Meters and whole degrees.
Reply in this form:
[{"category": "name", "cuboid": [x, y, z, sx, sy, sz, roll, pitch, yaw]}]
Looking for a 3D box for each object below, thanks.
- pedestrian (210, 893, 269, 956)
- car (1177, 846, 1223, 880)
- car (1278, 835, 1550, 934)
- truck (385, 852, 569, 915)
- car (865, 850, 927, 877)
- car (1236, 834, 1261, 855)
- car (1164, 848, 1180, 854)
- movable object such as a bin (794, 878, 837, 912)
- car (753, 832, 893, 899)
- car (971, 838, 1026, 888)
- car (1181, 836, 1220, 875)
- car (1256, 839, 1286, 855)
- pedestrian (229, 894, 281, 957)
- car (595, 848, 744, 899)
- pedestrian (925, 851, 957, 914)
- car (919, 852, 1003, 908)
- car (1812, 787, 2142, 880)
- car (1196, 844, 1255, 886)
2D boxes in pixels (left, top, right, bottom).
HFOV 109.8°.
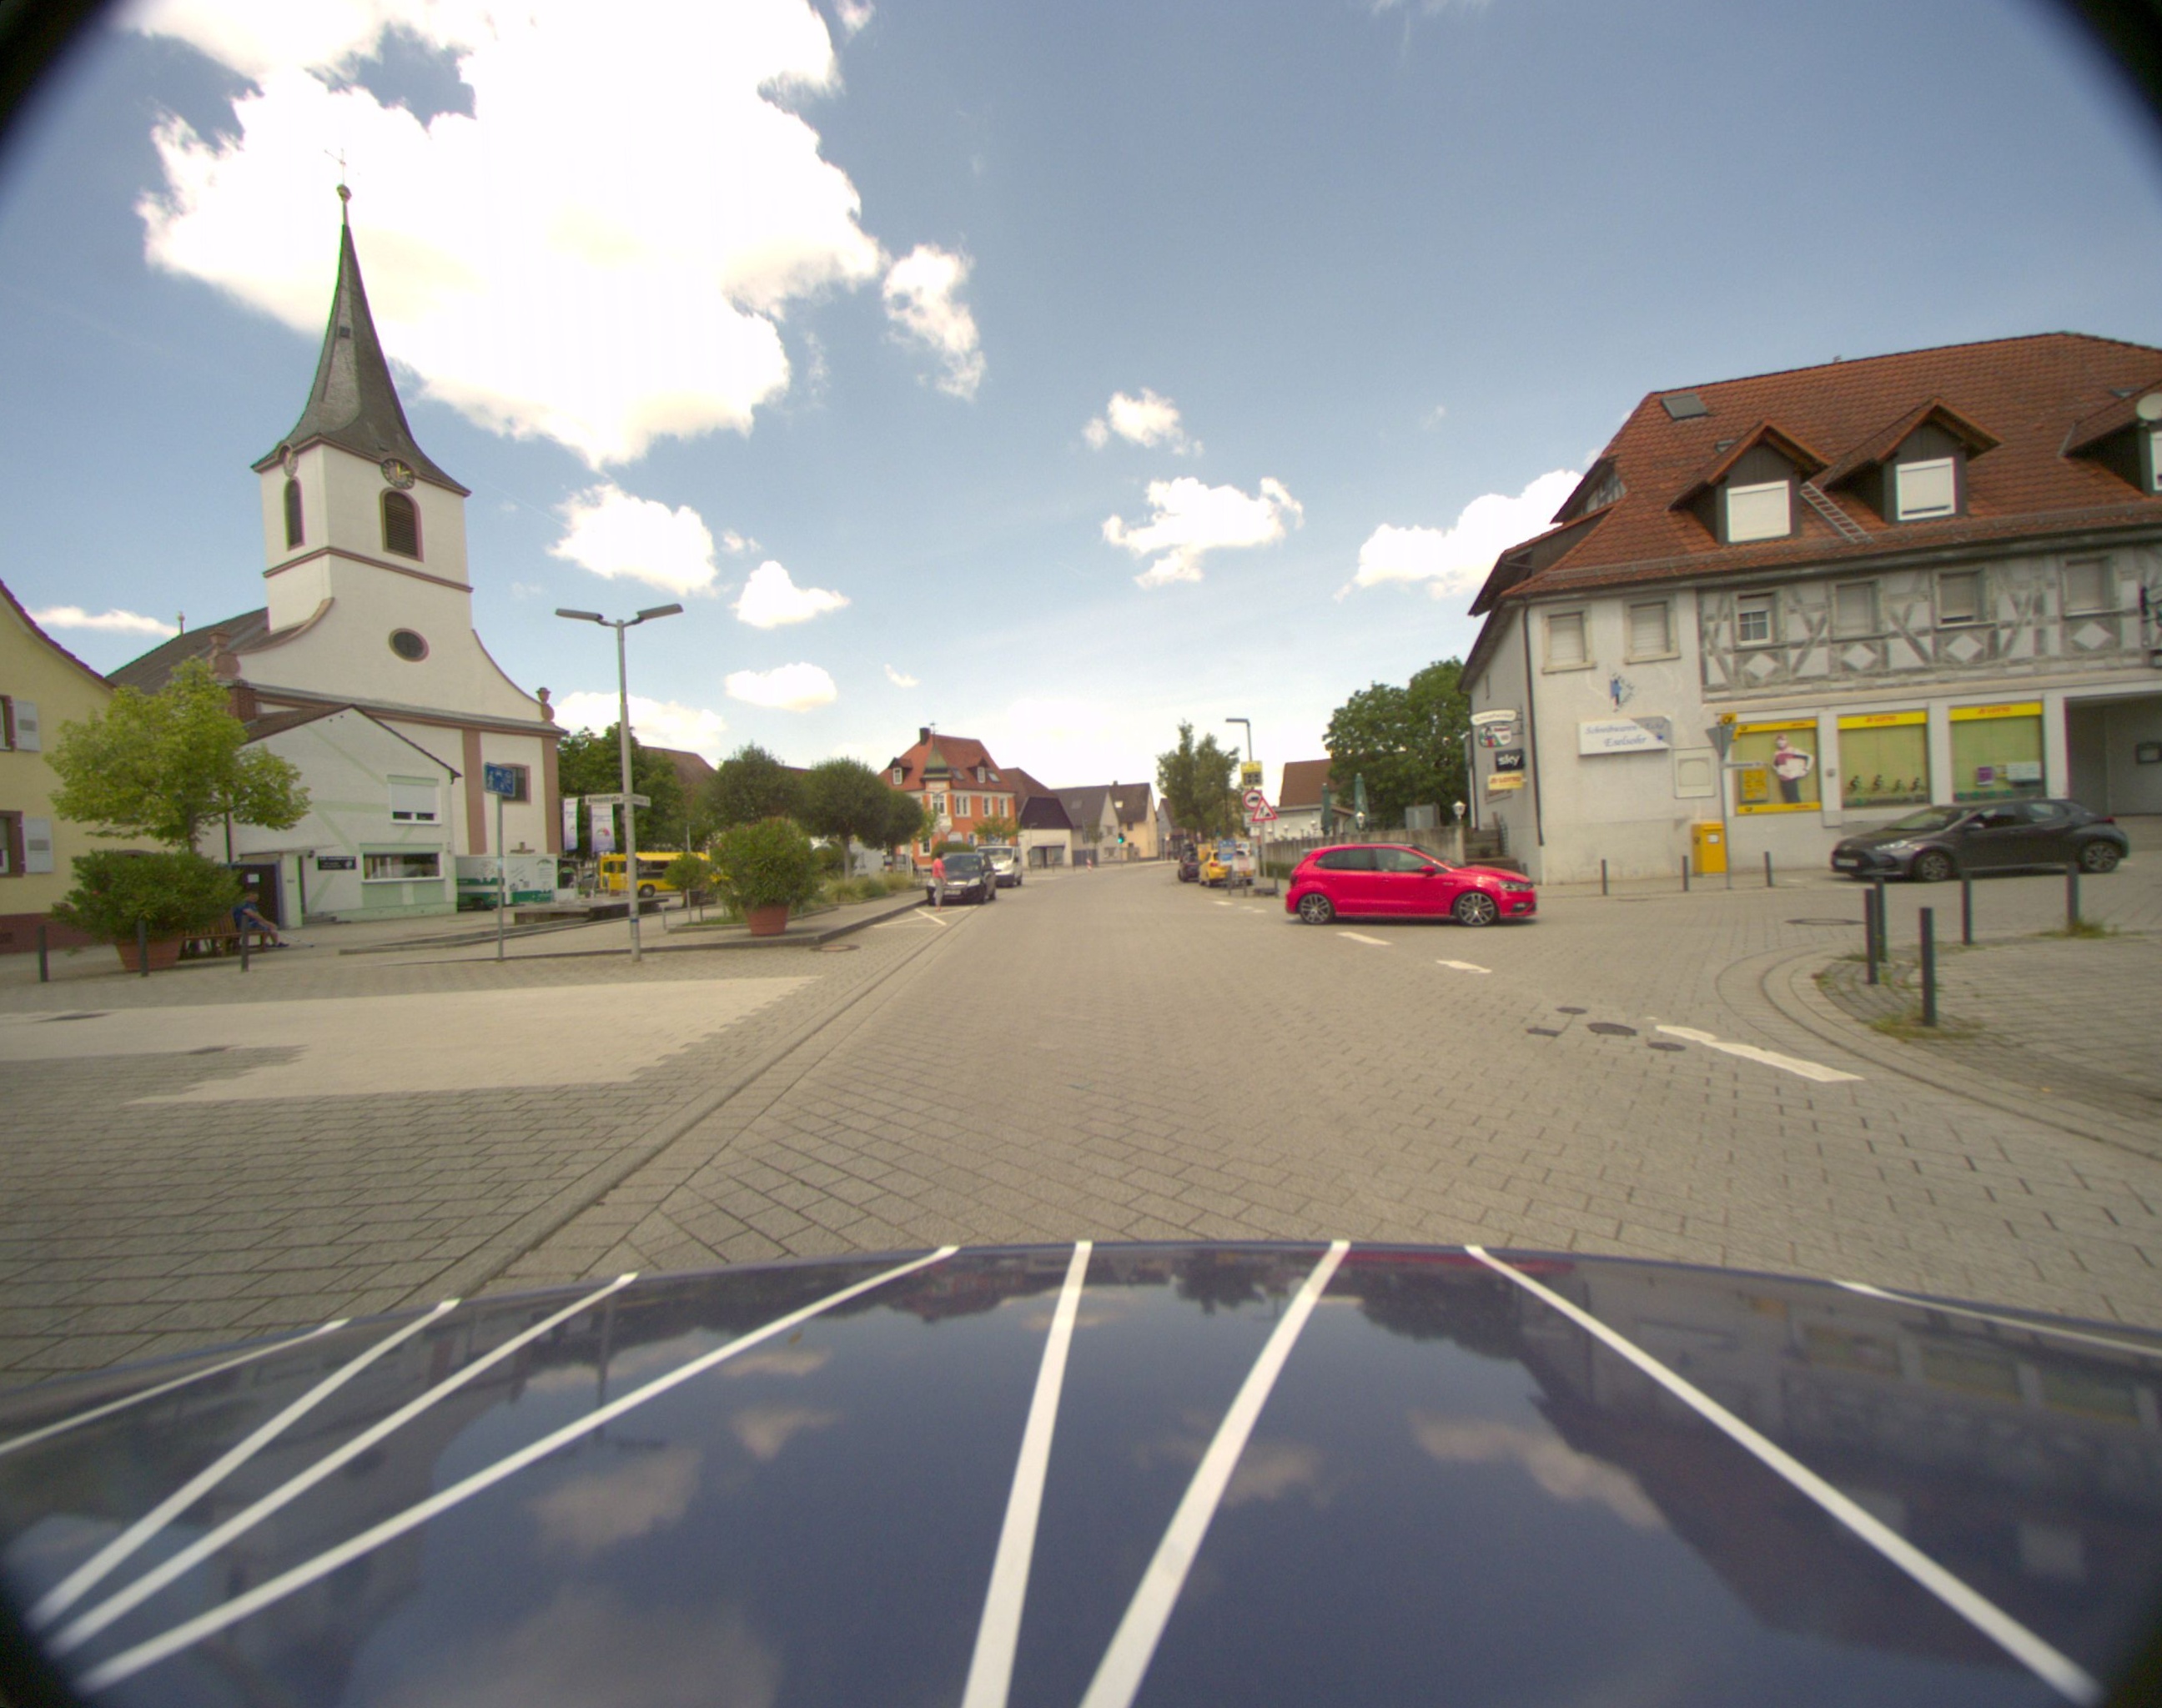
[{"category": "pedestrian", "cuboid": [-18.614, 1.541, 16.819, 0.536, 1.277, 0.791, -1, 2, 40]}, {"category": "car", "cuboid": [5.529, 0.398, 35.818, 1.820, 1.415, 4.539, -3, 0, 6]}, {"category": "car", "cuboid": [5.582, 0.493, 12.904, 3.877, 1.404, 1.787, -2, 1, 37]}, {"category": "truck", "cuboid": [-28.104, 1.347, 35.478, 6.813, 2.483, 2.960, -3, 1, 12]}, {"category": "car", "cuboid": [-15.132, 0.751, 62.521, 1.995, 2.002, 5.502, -3, 0, 22]}, {"category": "car", "cuboid": [18.758, -1.074, 84.887, 1.889, 2.173, 5.037, -2, 1, 22]}, {"category": "car", "cuboid": [17.929, -0.639, 149.701, 1.804, 1.053, 3.995, -3, 1, -12]}, {"category": "movable object such as a bin", "cuboid": [-7.574, 1.157, 21.720, 0.737, 0.861, 1.435, -3, 1, -2]}, {"category": "car", "cuboid": [-12.627, 0.457, 38.013, 2.756, 2.946, 7.121, -2, 1, 18]}, {"category": "car", "cuboid": [-3.832, 0.385, 36.226, 1.947, 2.165, 5.101, -1, 1, 1]}, {"category": "car", "cuboid": [6.788, 0.056, 43.326, 1.990, 1.979, 5.047, -3, 0, 9]}, {"category": "car", "cuboid": [20.175, -0.731, 80.485, 1.734, 1.482, 4.508, -2, 1, 32]}, {"category": "pedestrian", "cuboid": [-18.021, 1.536, 16.577, 0.612, 1.277, 0.674, -1, 2, 40]}, {"category": "car", "cuboid": [-23.430, 1.033, 43.554, 6.977, 2.463, 2.646, -3, 1, -43]}, {"category": "pedestrian", "cuboid": [-3.724, 0.758, 20.257, 0.640, 1.619, 0.620, -2, 1, 3]}, {"category": "car", "cuboid": [-3.644, 0.733, 23.843, 1.773, 1.555, 4.418, 0, 1, 2]}, {"category": "car", "cuboid": [17.433, -0.369, 15.009, 3.948, 1.509, 1.775, -3, 1, 11]}, {"category": "car", "cuboid": [5.526, 0.399, 29.530, 1.672, 1.466, 3.963, -3, 0, 3]}]
